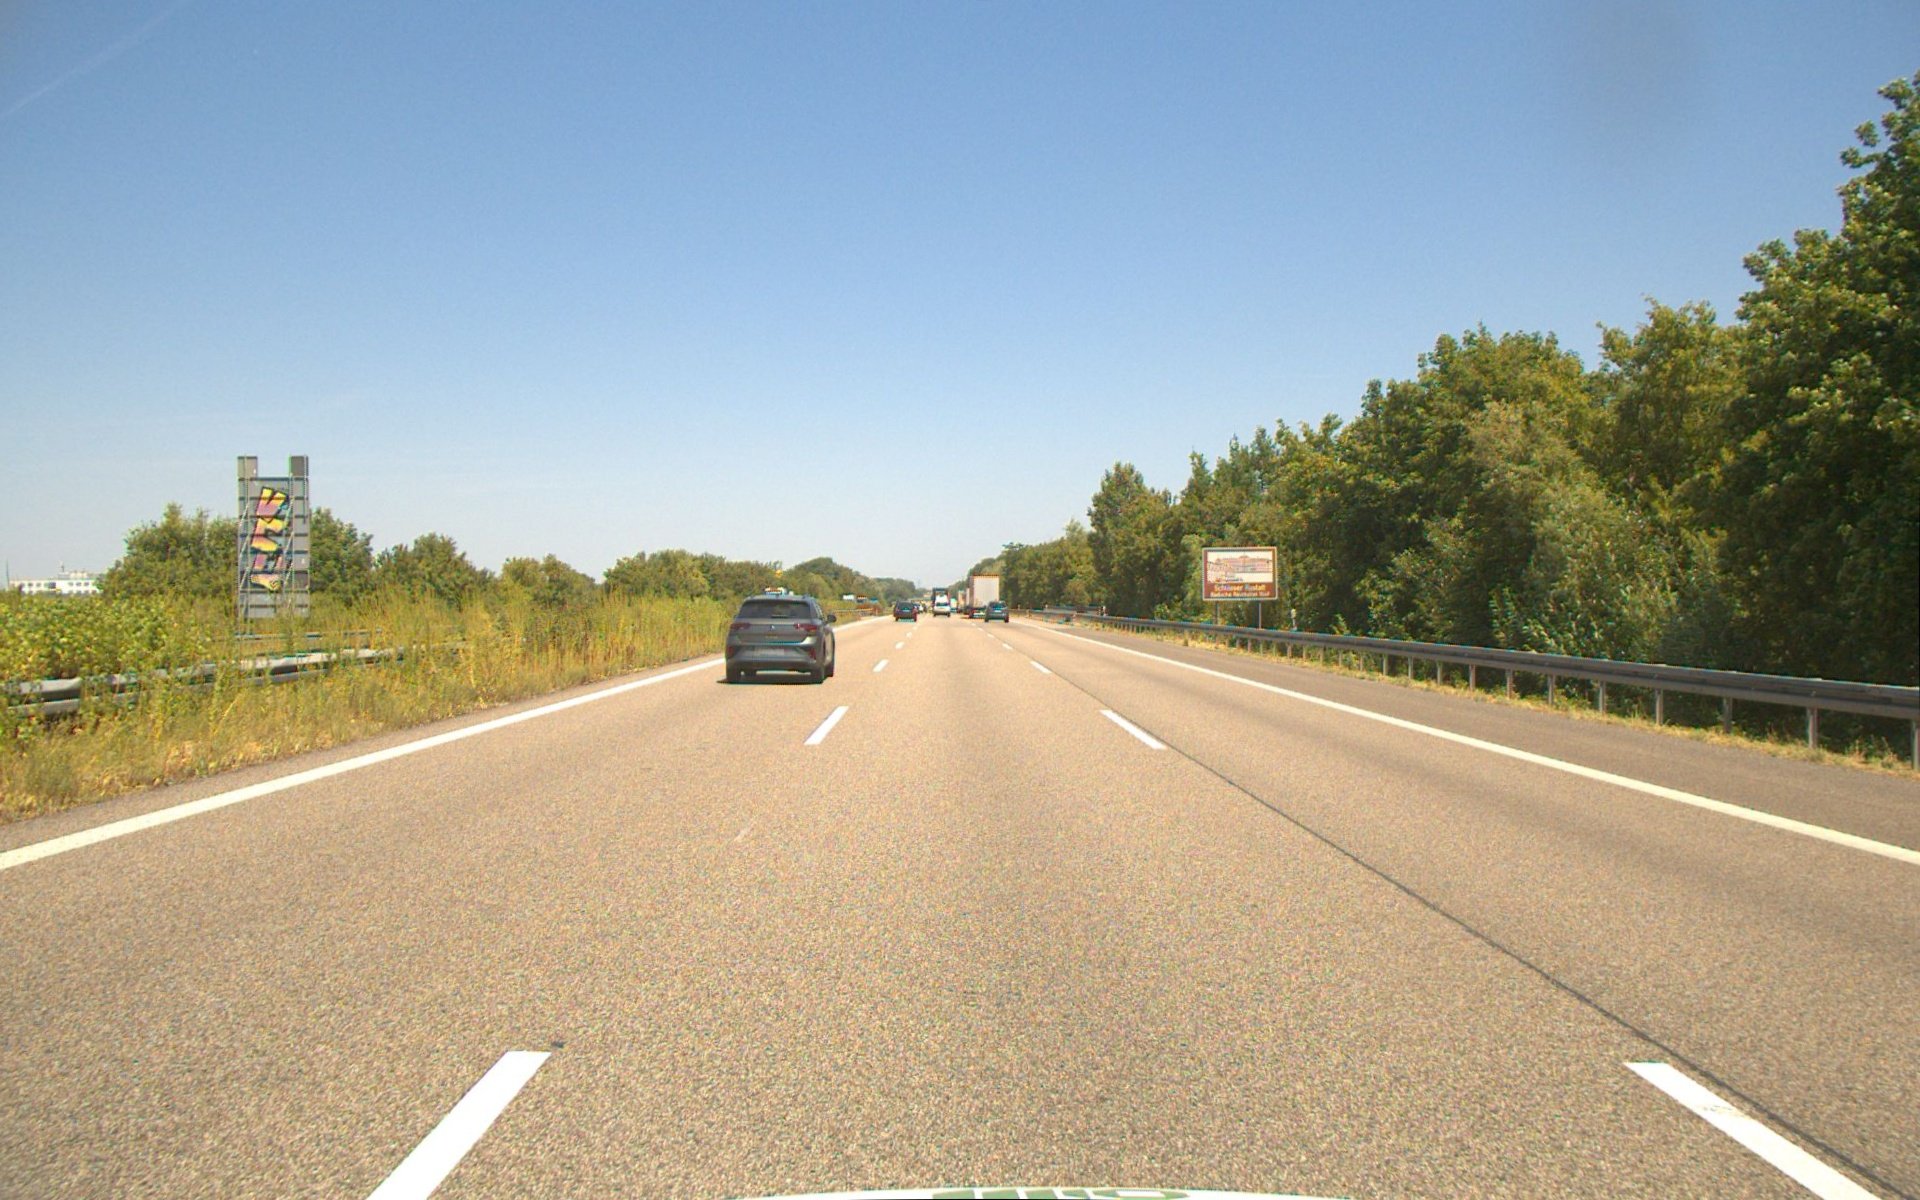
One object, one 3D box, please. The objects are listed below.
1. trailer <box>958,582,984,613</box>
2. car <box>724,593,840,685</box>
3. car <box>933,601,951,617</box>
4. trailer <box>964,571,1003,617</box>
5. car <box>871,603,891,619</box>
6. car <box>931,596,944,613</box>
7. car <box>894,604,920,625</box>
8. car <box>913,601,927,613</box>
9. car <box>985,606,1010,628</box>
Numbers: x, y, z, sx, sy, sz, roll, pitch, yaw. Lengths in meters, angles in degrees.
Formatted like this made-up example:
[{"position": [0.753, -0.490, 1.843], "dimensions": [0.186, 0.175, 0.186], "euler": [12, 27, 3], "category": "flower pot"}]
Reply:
[{"position": [1.413, -0.324, 223.042], "dimensions": [3.059, 3.995, 9.933], "euler": [1, 0, -2], "category": "trailer"}, {"position": [-3.228, 0.669, 30.710], "dimensions": [1.723, 1.557, 4.285], "euler": [1, 0, -1], "category": "car"}, {"position": [-1.871, 0.879, 170.133], "dimensions": [1.862, 1.557, 4.083], "euler": [1, 0, -1], "category": "car"}, {"position": [2.193, -0.482, 160.707], "dimensions": [3.364, 4.254, 13.629], "euler": [1, -1, -1], "category": "trailer"}, {"position": [-7.988, 1.074, 167.531], "dimensions": [1.869, 1.557, 4.285], "euler": [1, 0, -1], "category": "car"}, {"position": [-3.303, 0.635, 240.711], "dimensions": [1.869, 2.468, 4.285], "euler": [1, 0, -1], "category": "car"}, {"position": [-4.008, 1.088, 126.436], "dimensions": [1.862, 1.557, 4.083], "euler": [1, 0, -1], "category": "car"}, {"position": [-5.548, 1.005, 231.789], "dimensions": [1.869, 1.557, 4.285], "euler": [1, 0, -1], "category": "car"}, {"position": [2.878, 1.328, 127.830], "dimensions": [1.807, 1.657, 4.134], "euler": [0, 0, 0], "category": "car"}]
